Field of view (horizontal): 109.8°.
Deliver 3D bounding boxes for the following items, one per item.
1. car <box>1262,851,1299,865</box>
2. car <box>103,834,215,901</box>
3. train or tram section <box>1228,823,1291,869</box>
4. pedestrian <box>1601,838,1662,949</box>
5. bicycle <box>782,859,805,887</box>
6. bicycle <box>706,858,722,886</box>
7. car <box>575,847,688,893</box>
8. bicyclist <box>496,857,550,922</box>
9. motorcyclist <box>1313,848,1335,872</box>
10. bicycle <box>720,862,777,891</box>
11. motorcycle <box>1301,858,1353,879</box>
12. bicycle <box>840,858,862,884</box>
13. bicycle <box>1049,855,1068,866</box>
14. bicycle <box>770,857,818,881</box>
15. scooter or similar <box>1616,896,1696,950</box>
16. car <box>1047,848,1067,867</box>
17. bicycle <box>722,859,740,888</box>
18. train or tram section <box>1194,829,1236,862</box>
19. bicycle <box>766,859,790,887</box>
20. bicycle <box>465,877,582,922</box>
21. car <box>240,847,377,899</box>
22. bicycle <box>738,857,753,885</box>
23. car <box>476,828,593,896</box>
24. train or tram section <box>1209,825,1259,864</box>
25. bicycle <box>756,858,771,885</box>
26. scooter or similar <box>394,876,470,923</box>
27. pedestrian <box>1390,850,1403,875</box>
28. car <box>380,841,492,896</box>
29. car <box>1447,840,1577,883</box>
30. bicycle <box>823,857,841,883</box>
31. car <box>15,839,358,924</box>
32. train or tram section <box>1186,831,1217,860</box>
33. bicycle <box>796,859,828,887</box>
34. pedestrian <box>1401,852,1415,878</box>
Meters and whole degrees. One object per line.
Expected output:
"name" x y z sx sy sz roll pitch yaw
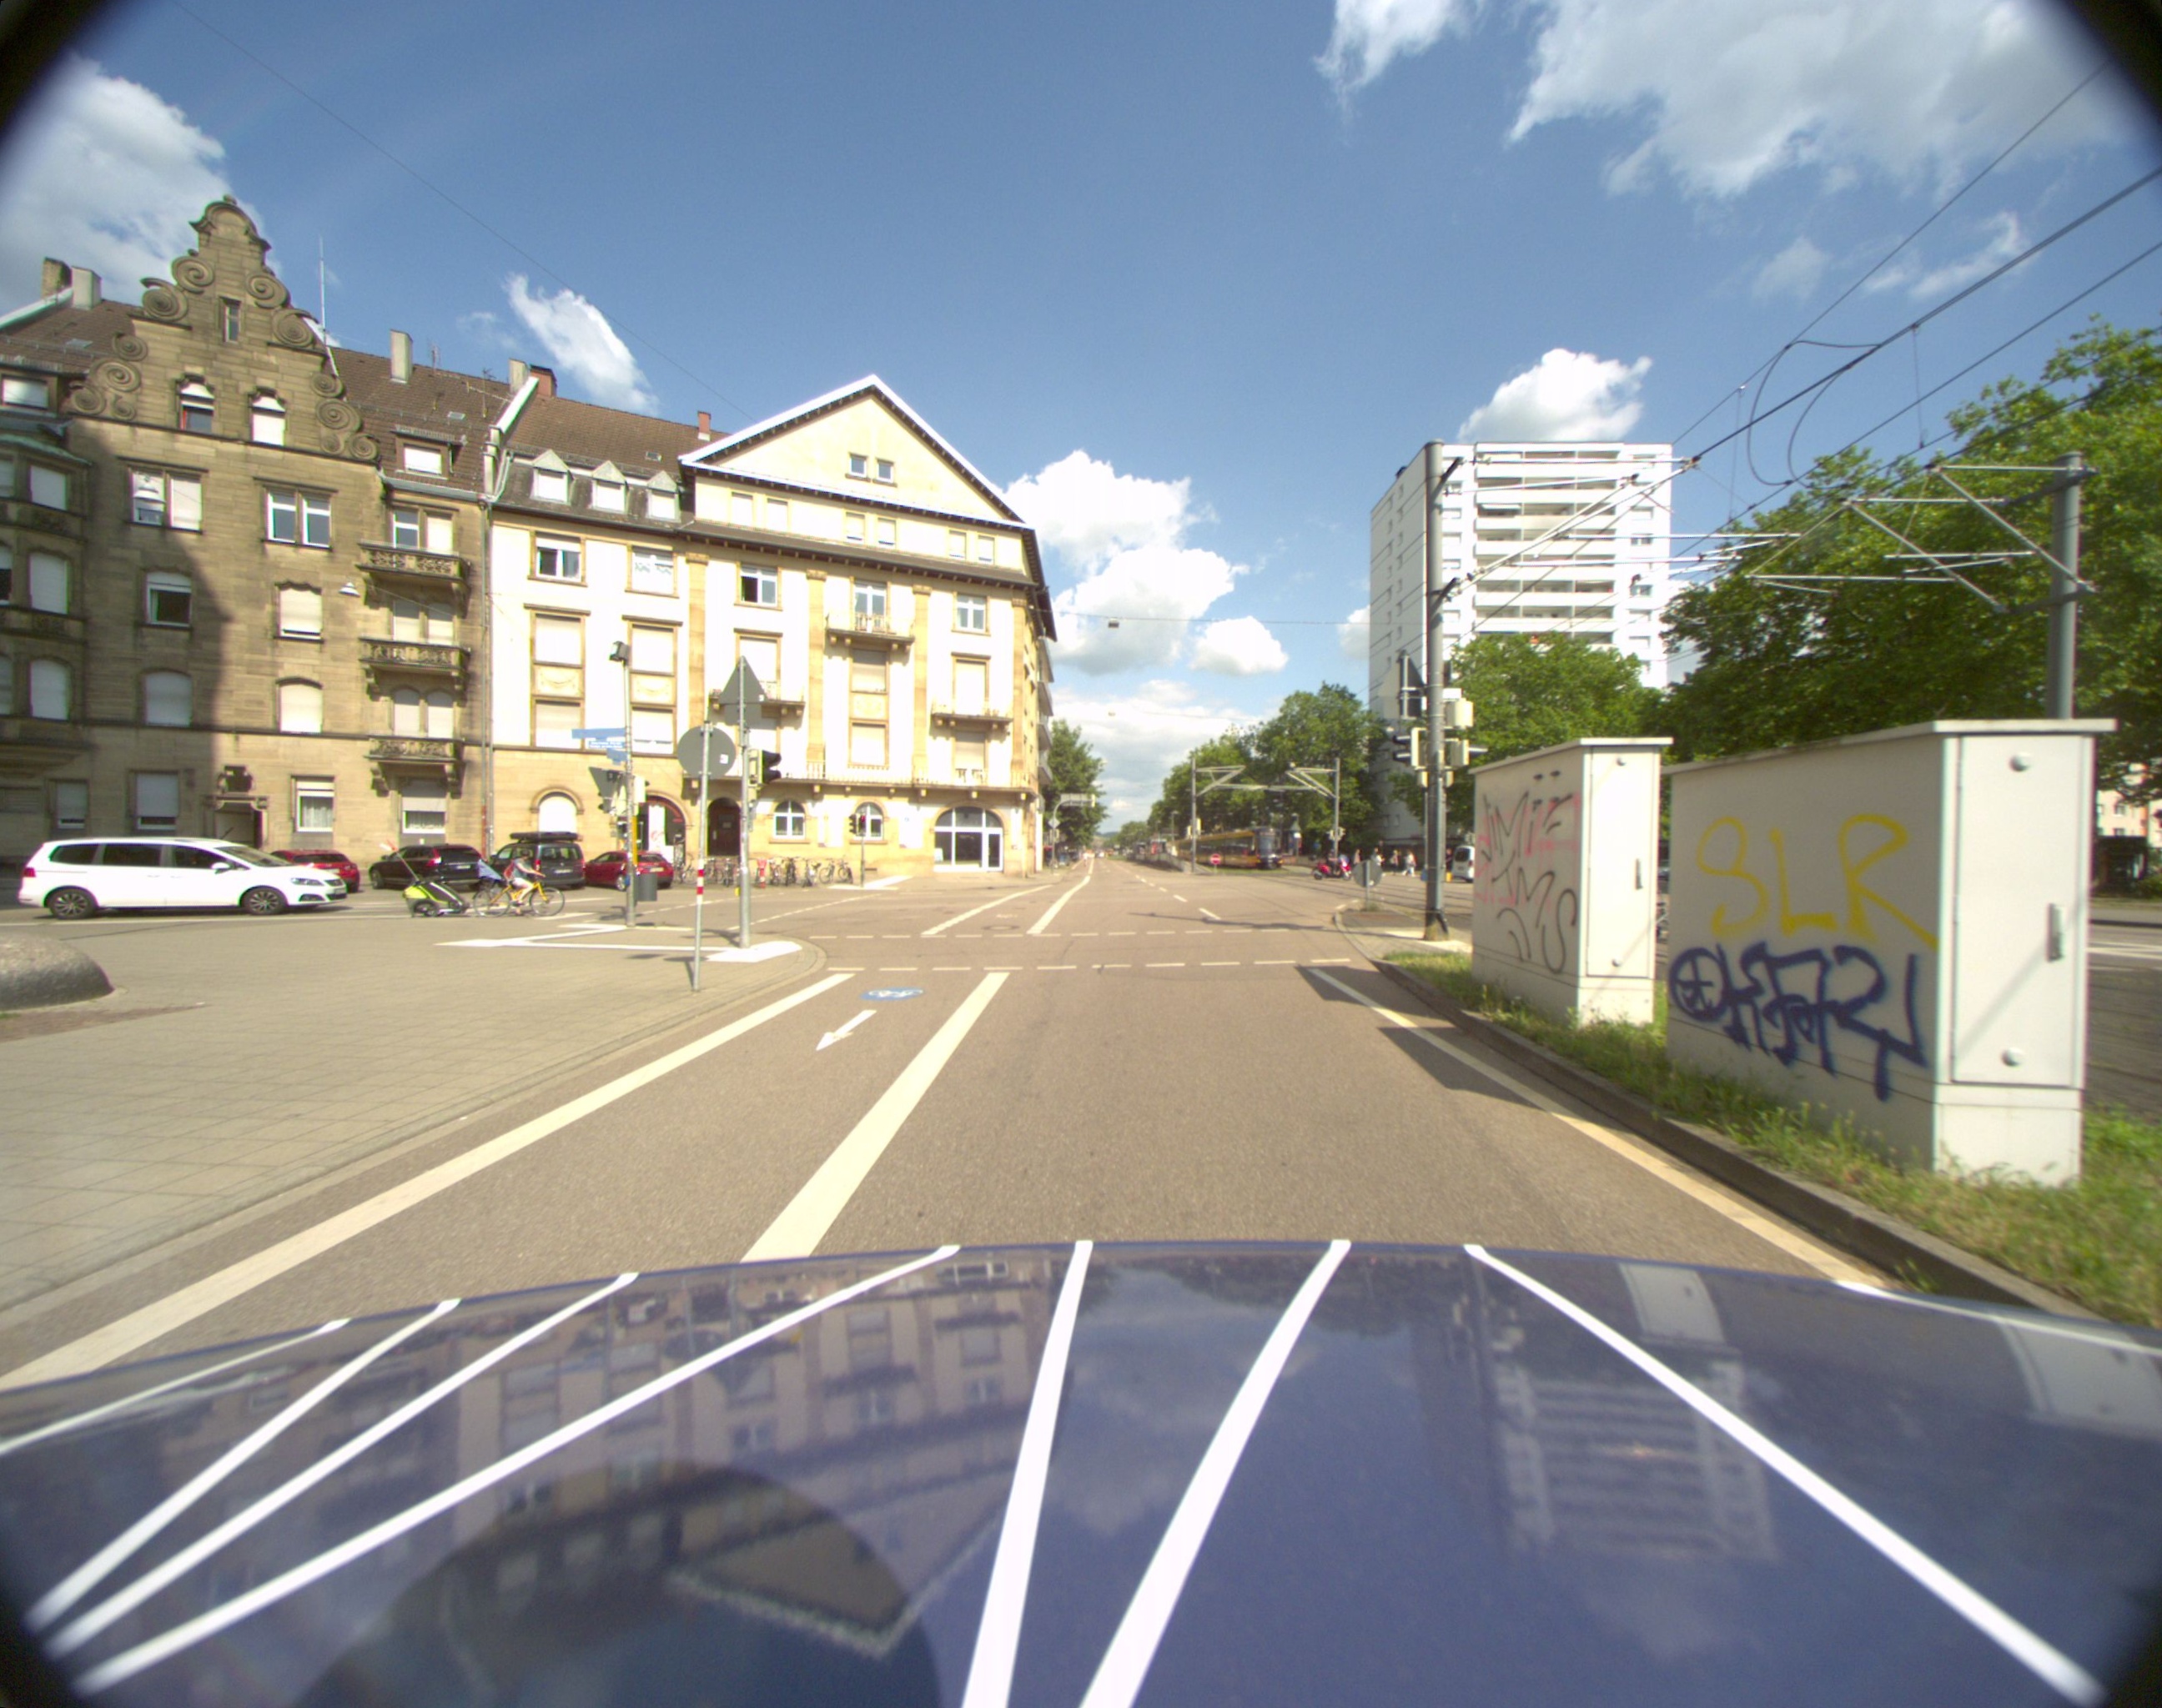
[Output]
"car" 21.508 0.437 82.147 1.863 1.481 3.842 0 1 -23
"car" -28.990 0.347 23.878 3.987 1.815 1.920 3 3 36
"train or tram section" 14.720 -0.679 63.703 2.803 3.540 11.376 0 1 1
"pedestrian" 8.732 0.612 12.061 0.528 1.722 0.557 0 1 -4
"bicycle" -11.916 0.764 31.502 0.540 1.013 1.926 1 3 -10
"bicycle" -14.974 0.706 31.032 0.541 1.013 1.923 0 3 -24
"car" -17.123 0.552 28.931 3.988 1.433 1.971 3 3 30
"bicyclist" -13.151 0.813 17.935 0.923 1.495 0.651 0 1 -28
"motorcyclist" 12.589 0.306 39.326 0.975 1.210 0.700 1 1 27
"bicycle" -12.847 0.869 29.379 1.932 1.013 0.538 -1 4 -40
"motorcycle" 12.705 0.739 39.275 2.498 0.971 0.700 1 1 28
"bicycle" -10.104 0.724 33.367 0.611 1.013 1.872 0 3 -27
"bicycle" -2.097 0.604 70.492 1.693 0.980 0.497 0 1 -1
"bicycle" -12.467 0.654 33.081 1.930 1.013 0.539 0 4 -20
"scooter or similar" 9.135 1.094 12.093 0.840 0.799 0.553 0 1 -3
"car" -2.412 0.355 77.980 1.851 1.779 3.999 3 1 0
"bicycle" -14.046 0.760 30.476 0.541 1.013 1.923 0 3 -28
"train or tram section" 15.120 -0.967 86.684 2.813 3.540 12.155 0 1 1
"bicycle" -12.425 0.769 31.174 0.540 1.013 1.926 1 3 -10
"bicycle" -13.113 1.053 17.952 2.137 0.983 0.651 0 1 -28
"car" -25.791 0.588 25.379 3.989 1.436 1.919 3 3 25
"bicycle" -14.049 0.701 31.778 0.541 1.013 1.923 0 3 -24
"car" -20.098 0.218 27.921 3.987 2.072 1.971 6 5 29
"train or tram section" 14.925 -0.970 74.944 2.813 3.540 11.180 0 1 1
"bicycle" -13.428 0.718 32.086 0.541 1.013 1.923 0 3 -24
"scooter or similar" -14.483 1.006 16.997 1.133 0.971 0.888 0 1 -28
"pedestrian" 22.299 0.602 53.678 0.671 1.693 0.648 0 1 4
"car" -22.602 0.444 26.604 3.988 1.659 1.714 3 3 30
"car" 21.069 0.342 37.315 5.166 1.881 2.000 2 1 4
"bicycle" -10.852 0.693 33.113 0.610 1.013 1.873 0 3 -15
"car" -19.802 0.553 17.170 4.670 1.730 1.811 0 1 -25
"train or tram section" 15.327 -1.090 97.208 2.773 3.463 8.906 0 1 1
"bicycle" -11.131 0.786 31.498 0.602 1.013 1.876 1 3 2
"pedestrian" 21.845 0.719 50.775 0.671 1.693 0.648 0 1 4
